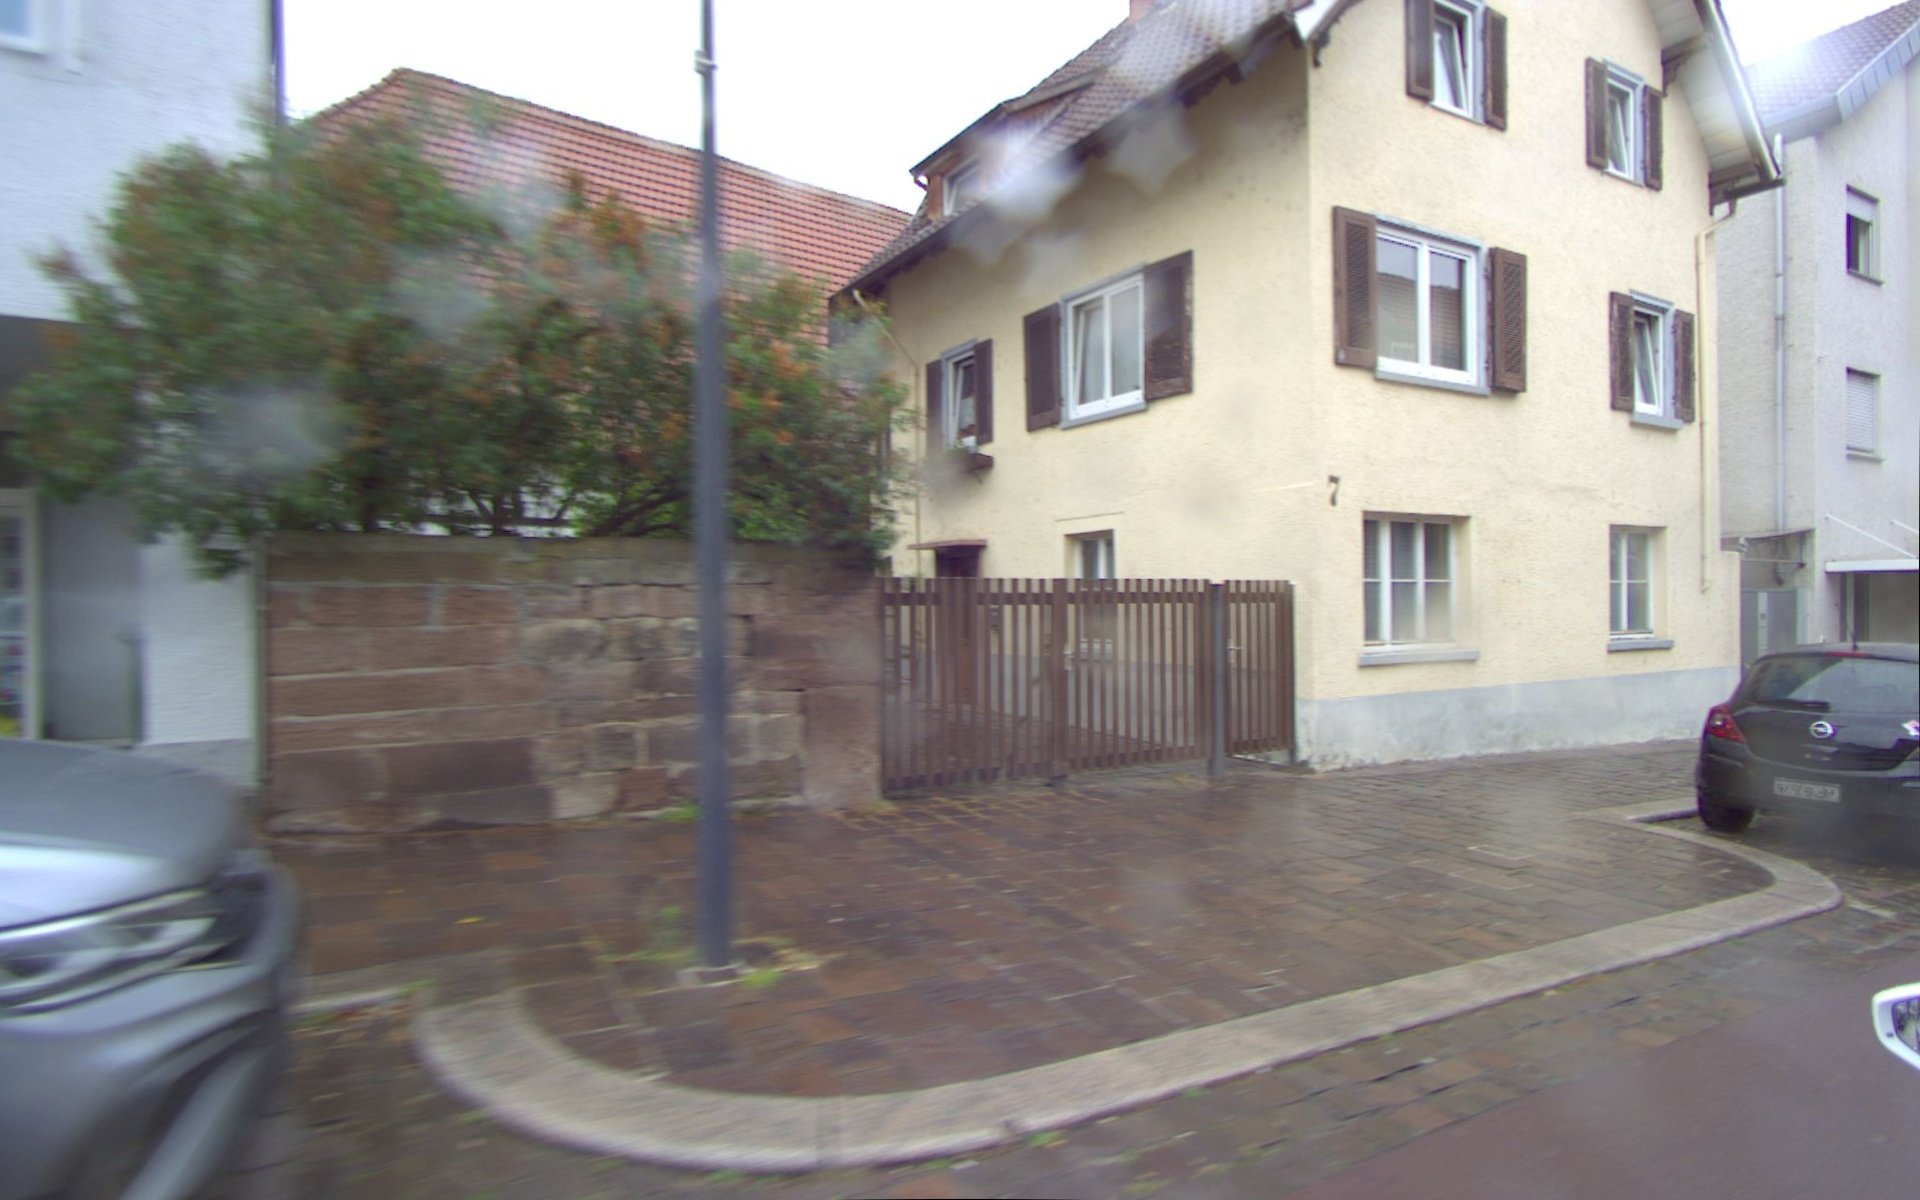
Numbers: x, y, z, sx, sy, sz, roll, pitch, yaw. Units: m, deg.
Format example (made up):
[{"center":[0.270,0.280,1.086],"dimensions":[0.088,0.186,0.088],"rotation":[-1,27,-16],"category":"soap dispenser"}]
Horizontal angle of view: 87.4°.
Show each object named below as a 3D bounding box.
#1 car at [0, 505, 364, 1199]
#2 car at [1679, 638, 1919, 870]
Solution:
[{"center":[-3.436,0.600,1.470],"dimensions":[4.359,1.589,1.770],"rotation":[2,-1,-32],"category":"car"},{"center":[7.306,1.034,7.726],"dimensions":[3.785,1.407,1.671],"rotation":[2,-1,-34],"category":"car"}]
